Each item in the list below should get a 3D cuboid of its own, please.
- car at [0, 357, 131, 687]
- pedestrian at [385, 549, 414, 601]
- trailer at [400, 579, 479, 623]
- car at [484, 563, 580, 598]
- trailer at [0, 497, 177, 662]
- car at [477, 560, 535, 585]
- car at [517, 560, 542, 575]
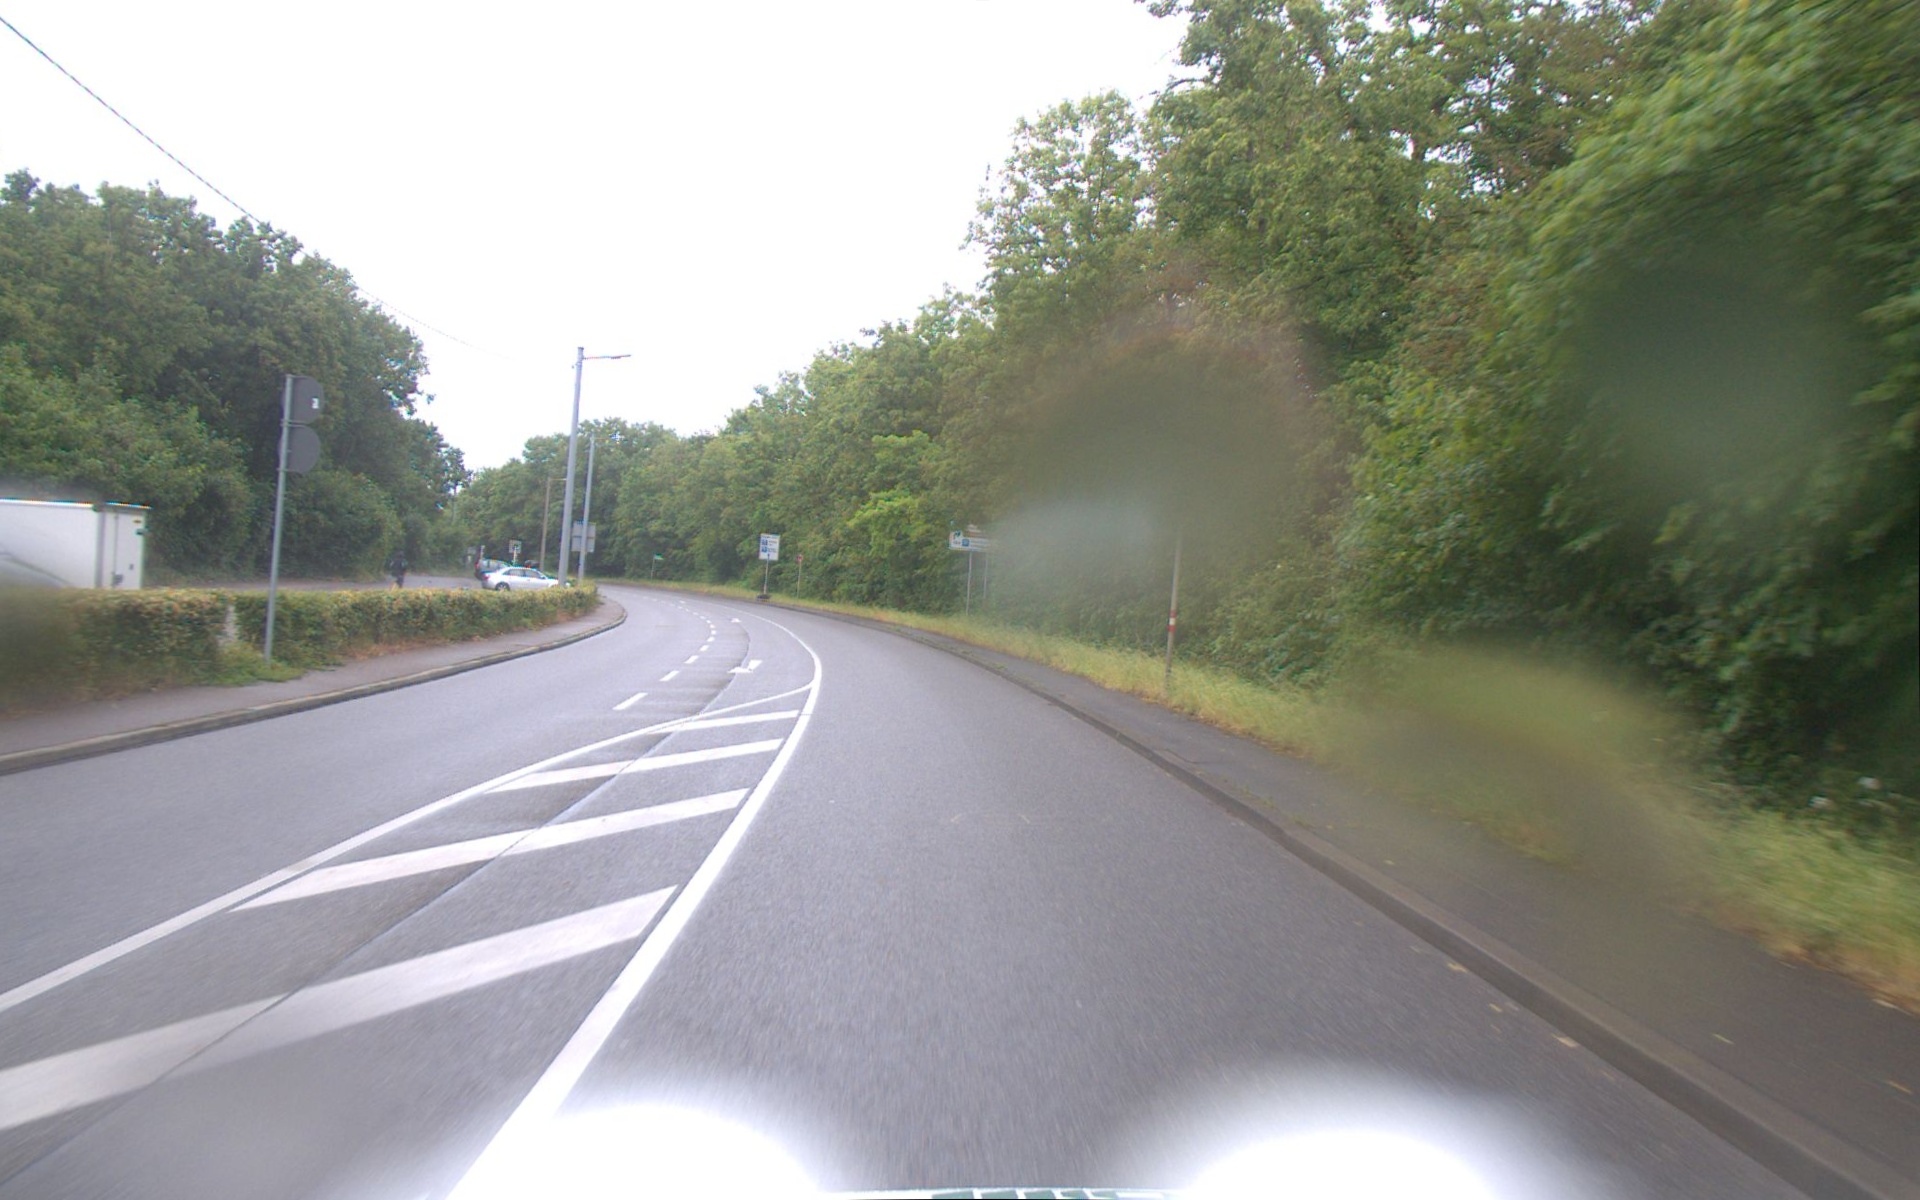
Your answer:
[{"bbox_3d":[-12.303,-0.873,16.862,6.154,3.168,2.747,3,-1,-8],"label":"car"},{"bbox_3d":[-20.337,-0.894,60.023,0.802,1.829,1.132,2,0,-11],"label":"pedestrian"},{"bbox_3d":[-13.500,0.029,42.950,1.769,1.052,1.330,2,0,-11],"label":"trailer"},{"bbox_3d":[-21.654,-0.988,83.612,4.507,1.532,1.989,3,0,-20],"label":"car"},{"bbox_3d":[-12.973,-0.313,22.260,3.909,2.088,1.871,2,0,-5],"label":"trailer"},{"bbox_3d":[-35.050,-2.136,127.765,4.222,1.738,1.991,3,0,-17],"label":"car"},{"bbox_3d":[-47.218,-3.569,181.376,1.910,1.524,4.285,2,1,-25],"label":"car"}]
